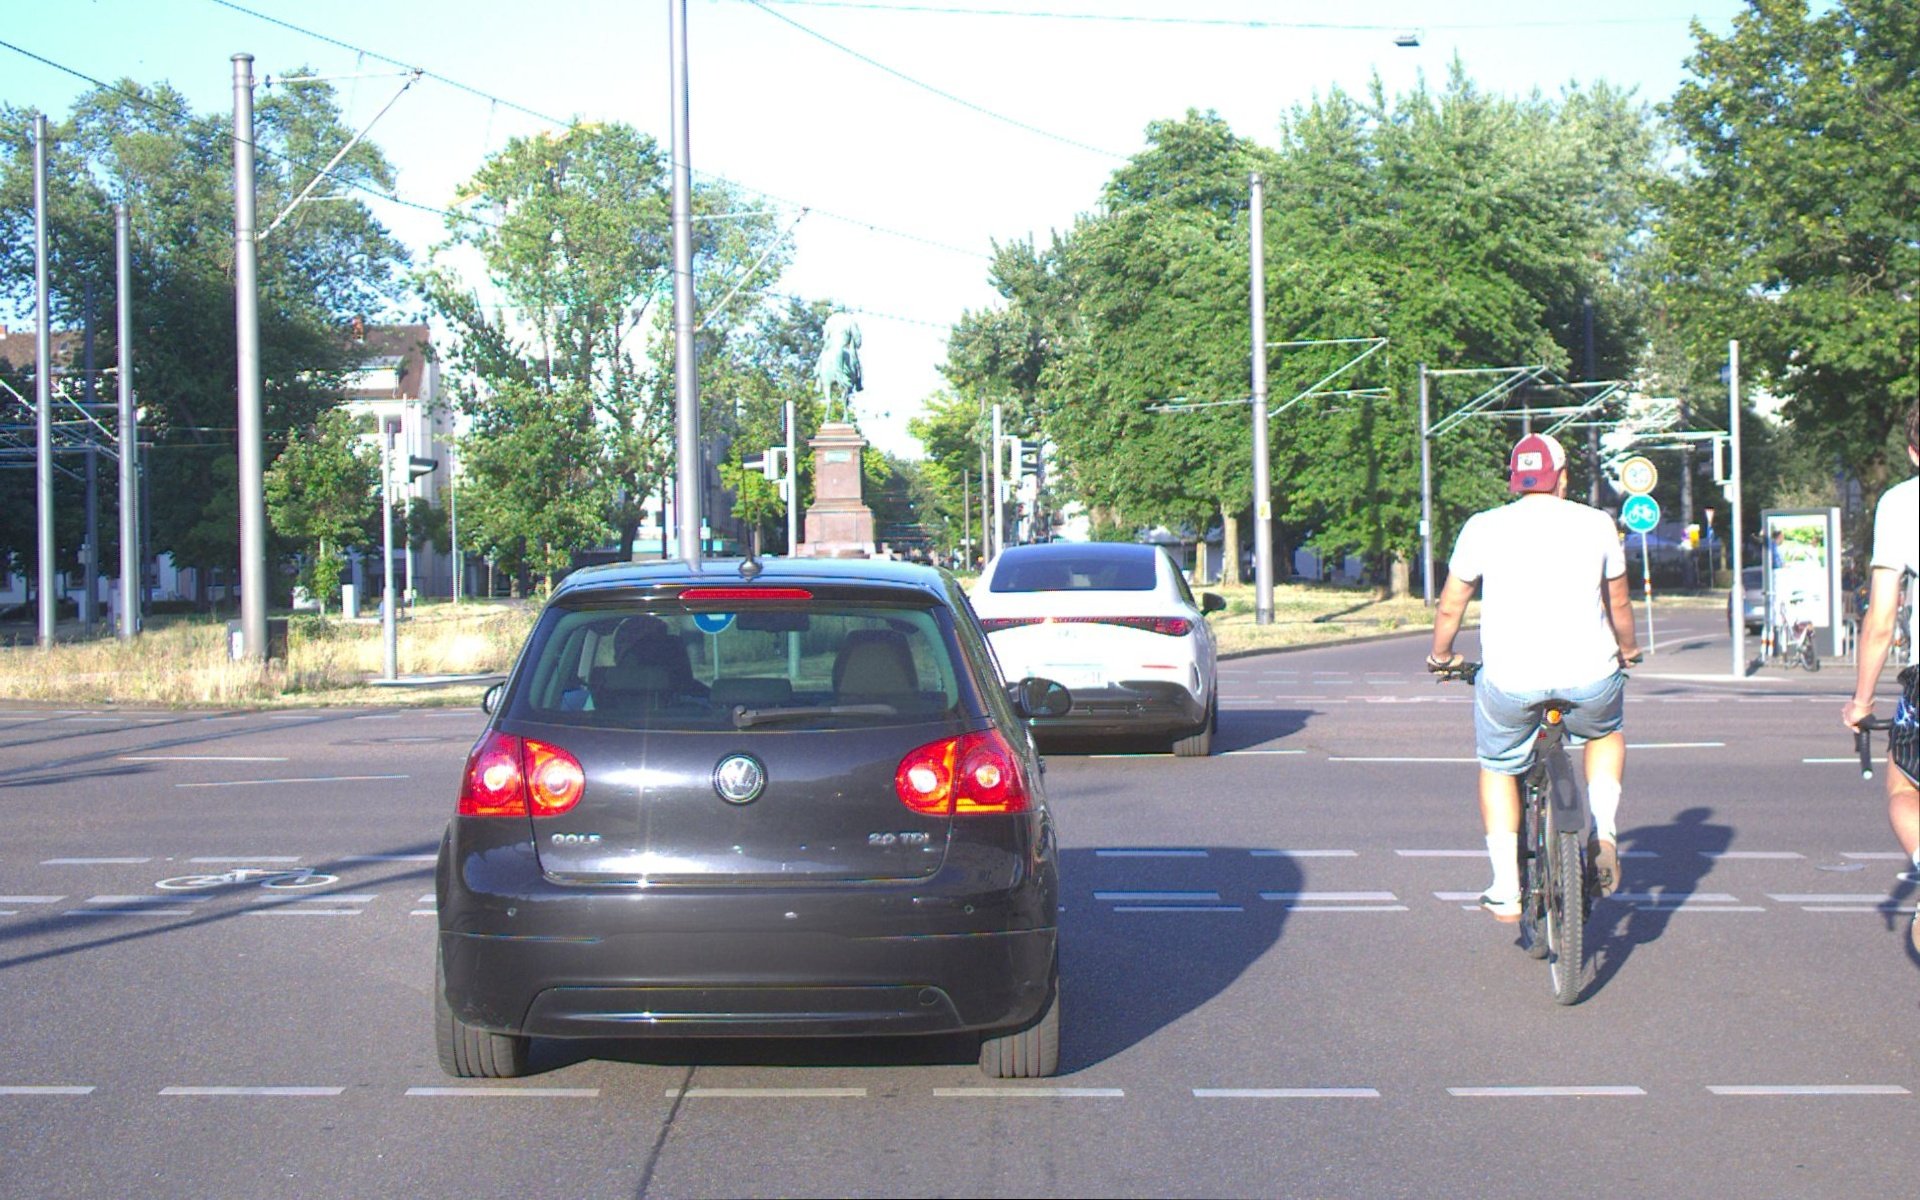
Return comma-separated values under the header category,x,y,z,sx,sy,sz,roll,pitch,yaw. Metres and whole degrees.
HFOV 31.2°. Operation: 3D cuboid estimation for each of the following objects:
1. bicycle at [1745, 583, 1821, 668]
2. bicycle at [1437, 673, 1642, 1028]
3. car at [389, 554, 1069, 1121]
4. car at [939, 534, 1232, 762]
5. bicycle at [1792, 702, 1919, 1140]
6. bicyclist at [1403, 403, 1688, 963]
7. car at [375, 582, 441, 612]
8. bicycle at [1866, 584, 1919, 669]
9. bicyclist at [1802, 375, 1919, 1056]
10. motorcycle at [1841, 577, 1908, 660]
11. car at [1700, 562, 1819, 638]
category,x,y,z,sx,sy,sz,roll,pitch,yaw
bicycle,11.540,0.349,48.264,0.645,1.123,1.874,-1,2,1
bicycle,1.928,0.796,11.618,0.478,1.024,1.981,-1,1,4
car,-0.602,0.587,10.908,1.747,1.456,4.103,0,1,0
car,0.914,0.273,24.368,1.865,1.436,4.197,-1,1,3
bicycle,2.765,0.835,9.545,0.575,1.024,1.856,0,1,4
bicyclist,1.956,0.265,11.615,0.826,1.801,1.057,0,0,3
car,-29.364,-0.171,182.895,3.338,1.502,1.659,-1,1,-3
bicycle,13.299,0.362,48.358,0.645,1.123,1.874,-1,2,1
bicyclist,2.785,0.299,9.573,0.674,1.801,0.994,0,0,3
motorcycle,14.199,0.273,53.397,0.666,1.238,2.200,0,1,6
car,16.768,-0.013,71.982,1.730,1.467,3.894,-3,0,23
